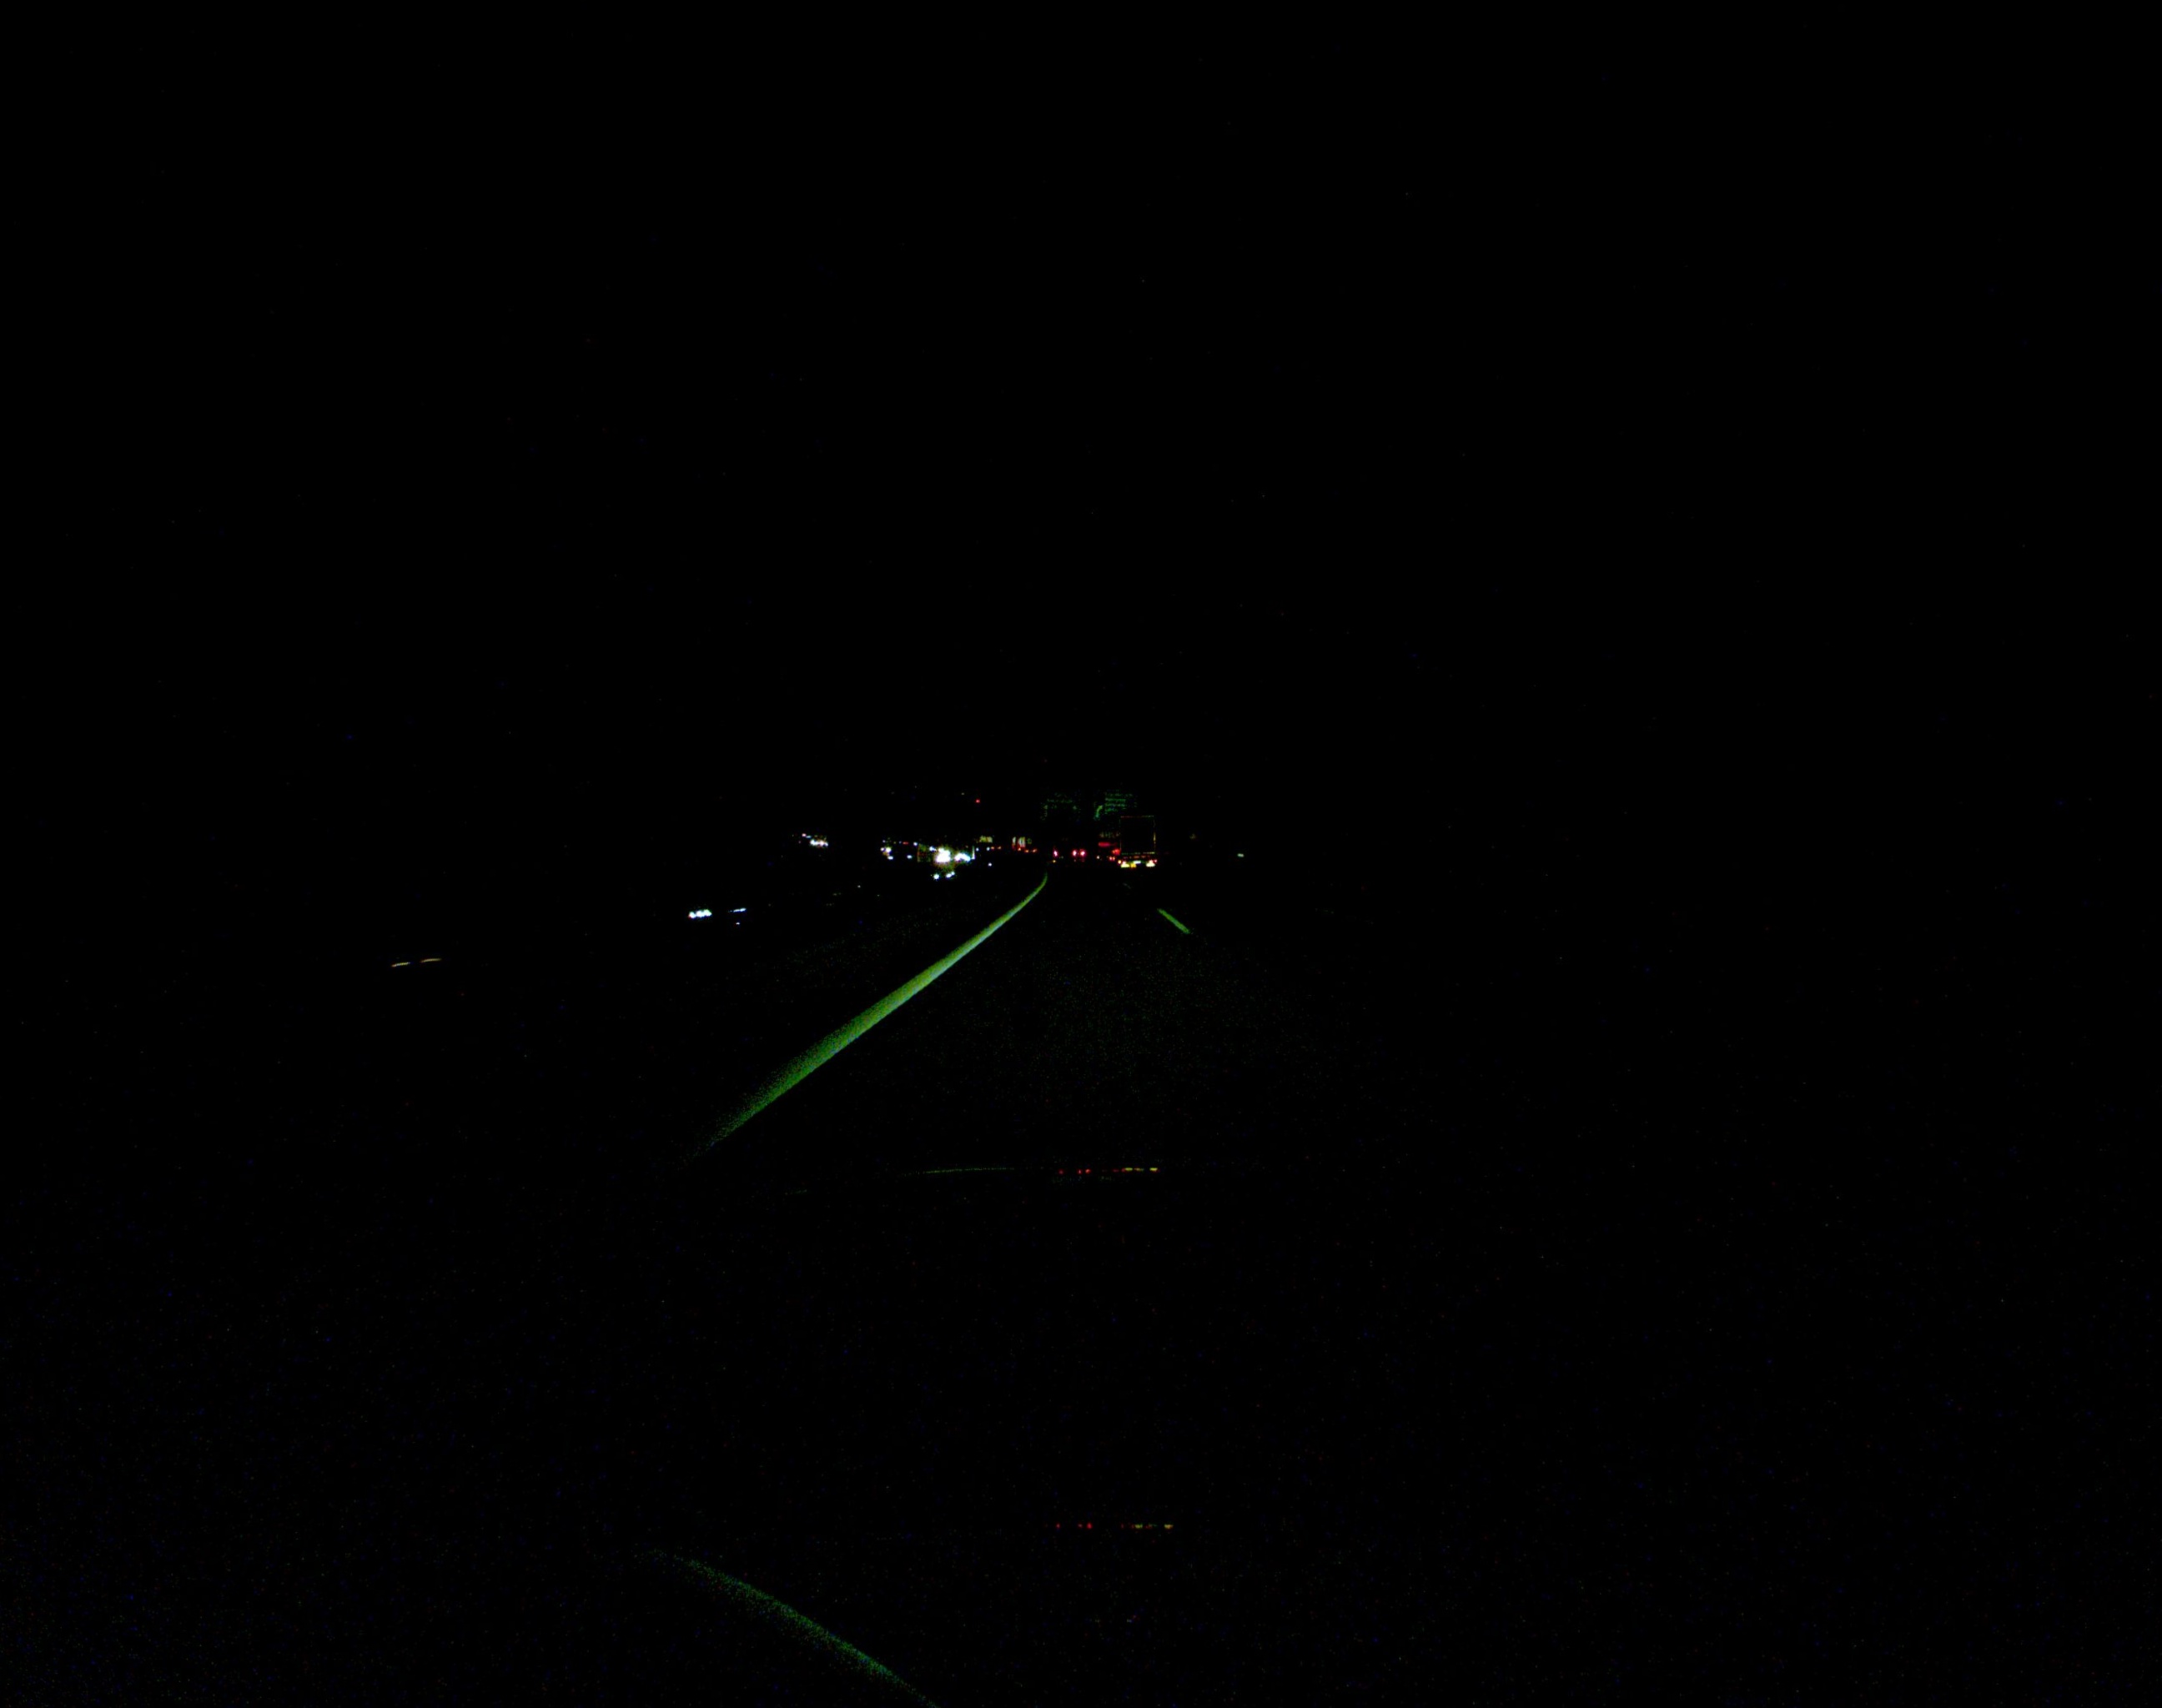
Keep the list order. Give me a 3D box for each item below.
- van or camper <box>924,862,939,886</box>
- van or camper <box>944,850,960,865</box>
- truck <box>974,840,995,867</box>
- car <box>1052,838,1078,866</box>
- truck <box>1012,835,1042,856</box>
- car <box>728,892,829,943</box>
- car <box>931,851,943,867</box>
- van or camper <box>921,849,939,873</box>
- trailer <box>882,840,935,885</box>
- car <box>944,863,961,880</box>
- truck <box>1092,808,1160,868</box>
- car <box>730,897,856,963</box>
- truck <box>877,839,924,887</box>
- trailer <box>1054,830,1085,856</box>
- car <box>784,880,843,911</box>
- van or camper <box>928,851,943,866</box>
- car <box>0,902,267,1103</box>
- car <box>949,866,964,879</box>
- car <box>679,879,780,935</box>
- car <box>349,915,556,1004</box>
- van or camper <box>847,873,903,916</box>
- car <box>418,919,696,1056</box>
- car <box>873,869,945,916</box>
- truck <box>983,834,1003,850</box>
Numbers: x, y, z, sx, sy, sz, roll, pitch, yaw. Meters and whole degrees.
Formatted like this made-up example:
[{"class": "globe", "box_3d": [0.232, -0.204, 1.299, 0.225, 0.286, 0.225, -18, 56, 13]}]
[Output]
[{"class": "van or camper", "box_3d": [-20.294, 2.702, 110.562, 1.834, 2.971, 6.377, -3, 1, -10]}, {"class": "van or camper", "box_3d": [-25.574, 0.594, 161.336, 2.448, 2.760, 6.460, -3, 1, -13]}, {"class": "truck", "box_3d": [-13.562, -0.050, 114.863, 2.650, 3.591, 8.534, -1, 0, -5]}, {"class": "car", "box_3d": [-1.590, -0.165, 79.749, 2.332, 2.640, 5.241, 0, 0, -3]}, {"class": "truck", "box_3d": [-13.595, -2.254, 202.433, 3.920, 4.626, 20.922, -3, 2, -14]}, {"class": "car", "box_3d": [-11.896, 2.449, 32.436, 2.133, 1.490, 5.110, -3, 0, -1]}, {"class": "car", "box_3d": [-23.455, 0.795, 132.343, 1.834, 2.370, 5.427, -3, 1, -10]}, {"class": "van or camper", "box_3d": [-21.737, 0.969, 117.081, 2.270, 3.379, 5.674, -3, 1, -11]}, {"class": "trailer", "box_3d": [-17.991, 0.793, 85.755, 3.429, 4.240, 12.814, -3, 1, -4]}, {"class": "car", "box_3d": [-12.596, 1.732, 79.835, 1.606, 1.479, 4.059, -1, -3, -10]}, {"class": "truck", "box_3d": [3.266, -1.102, 66.134, 3.475, 4.134, 18.687, -1, 0, -3]}, {"class": "car", "box_3d": [-8.848, 2.280, 25.604, 2.133, 1.450, 5.110, -3, 0, -1]}, {"class": "truck", "box_3d": [-17.546, 0.824, 79.571, 3.413, 4.222, 6.272, -3, 0, -5]}, {"class": "trailer", "box_3d": [-2.020, -1.938, 138.125, 2.855, 4.066, 13.157, -2, 2, -11]}, {"class": "car", "box_3d": [-15.091, 2.316, 46.101, 1.831, 1.442, 4.002, -3, 0, 2]}, {"class": "van or camper", "box_3d": [-28.646, 0.951, 160.009, 2.448, 2.760, 6.460, -3, 1, -13]}, {"class": "car", "box_3d": [-15.291, 2.090, 11.345, 2.020, 2.441, 5.697, -1, 0, 2]}, {"class": "car", "box_3d": [-15.202, 2.290, 99.704, 1.599, 1.442, 3.991, -3, 0, -6]}, {"class": "car", "box_3d": [-15.584, 2.282, 36.473, 2.131, 2.054, 5.114, -3, 0, 1]}, {"class": "car", "box_3d": [-15.476, 2.532, 20.418, 1.811, 1.557, 4.278, -2, 0, 0]}, {"class": "van or camper", "box_3d": [-11.566, 2.223, 46.103, 1.989, 2.013, 5.215, -3, 0, -3]}, {"class": "car", "box_3d": [-8.333, 2.037, 13.522, 1.811, 1.469, 4.278, -2, 0, 0]}, {"class": "car", "box_3d": [-7.569, 1.641, 36.305, 2.133, 1.706, 5.110, -3, 0, -1]}, {"class": "truck", "box_3d": [-26.306, -3.631, 241.900, 3.352, 4.475, 13.832, 0, 1, -17]}]
